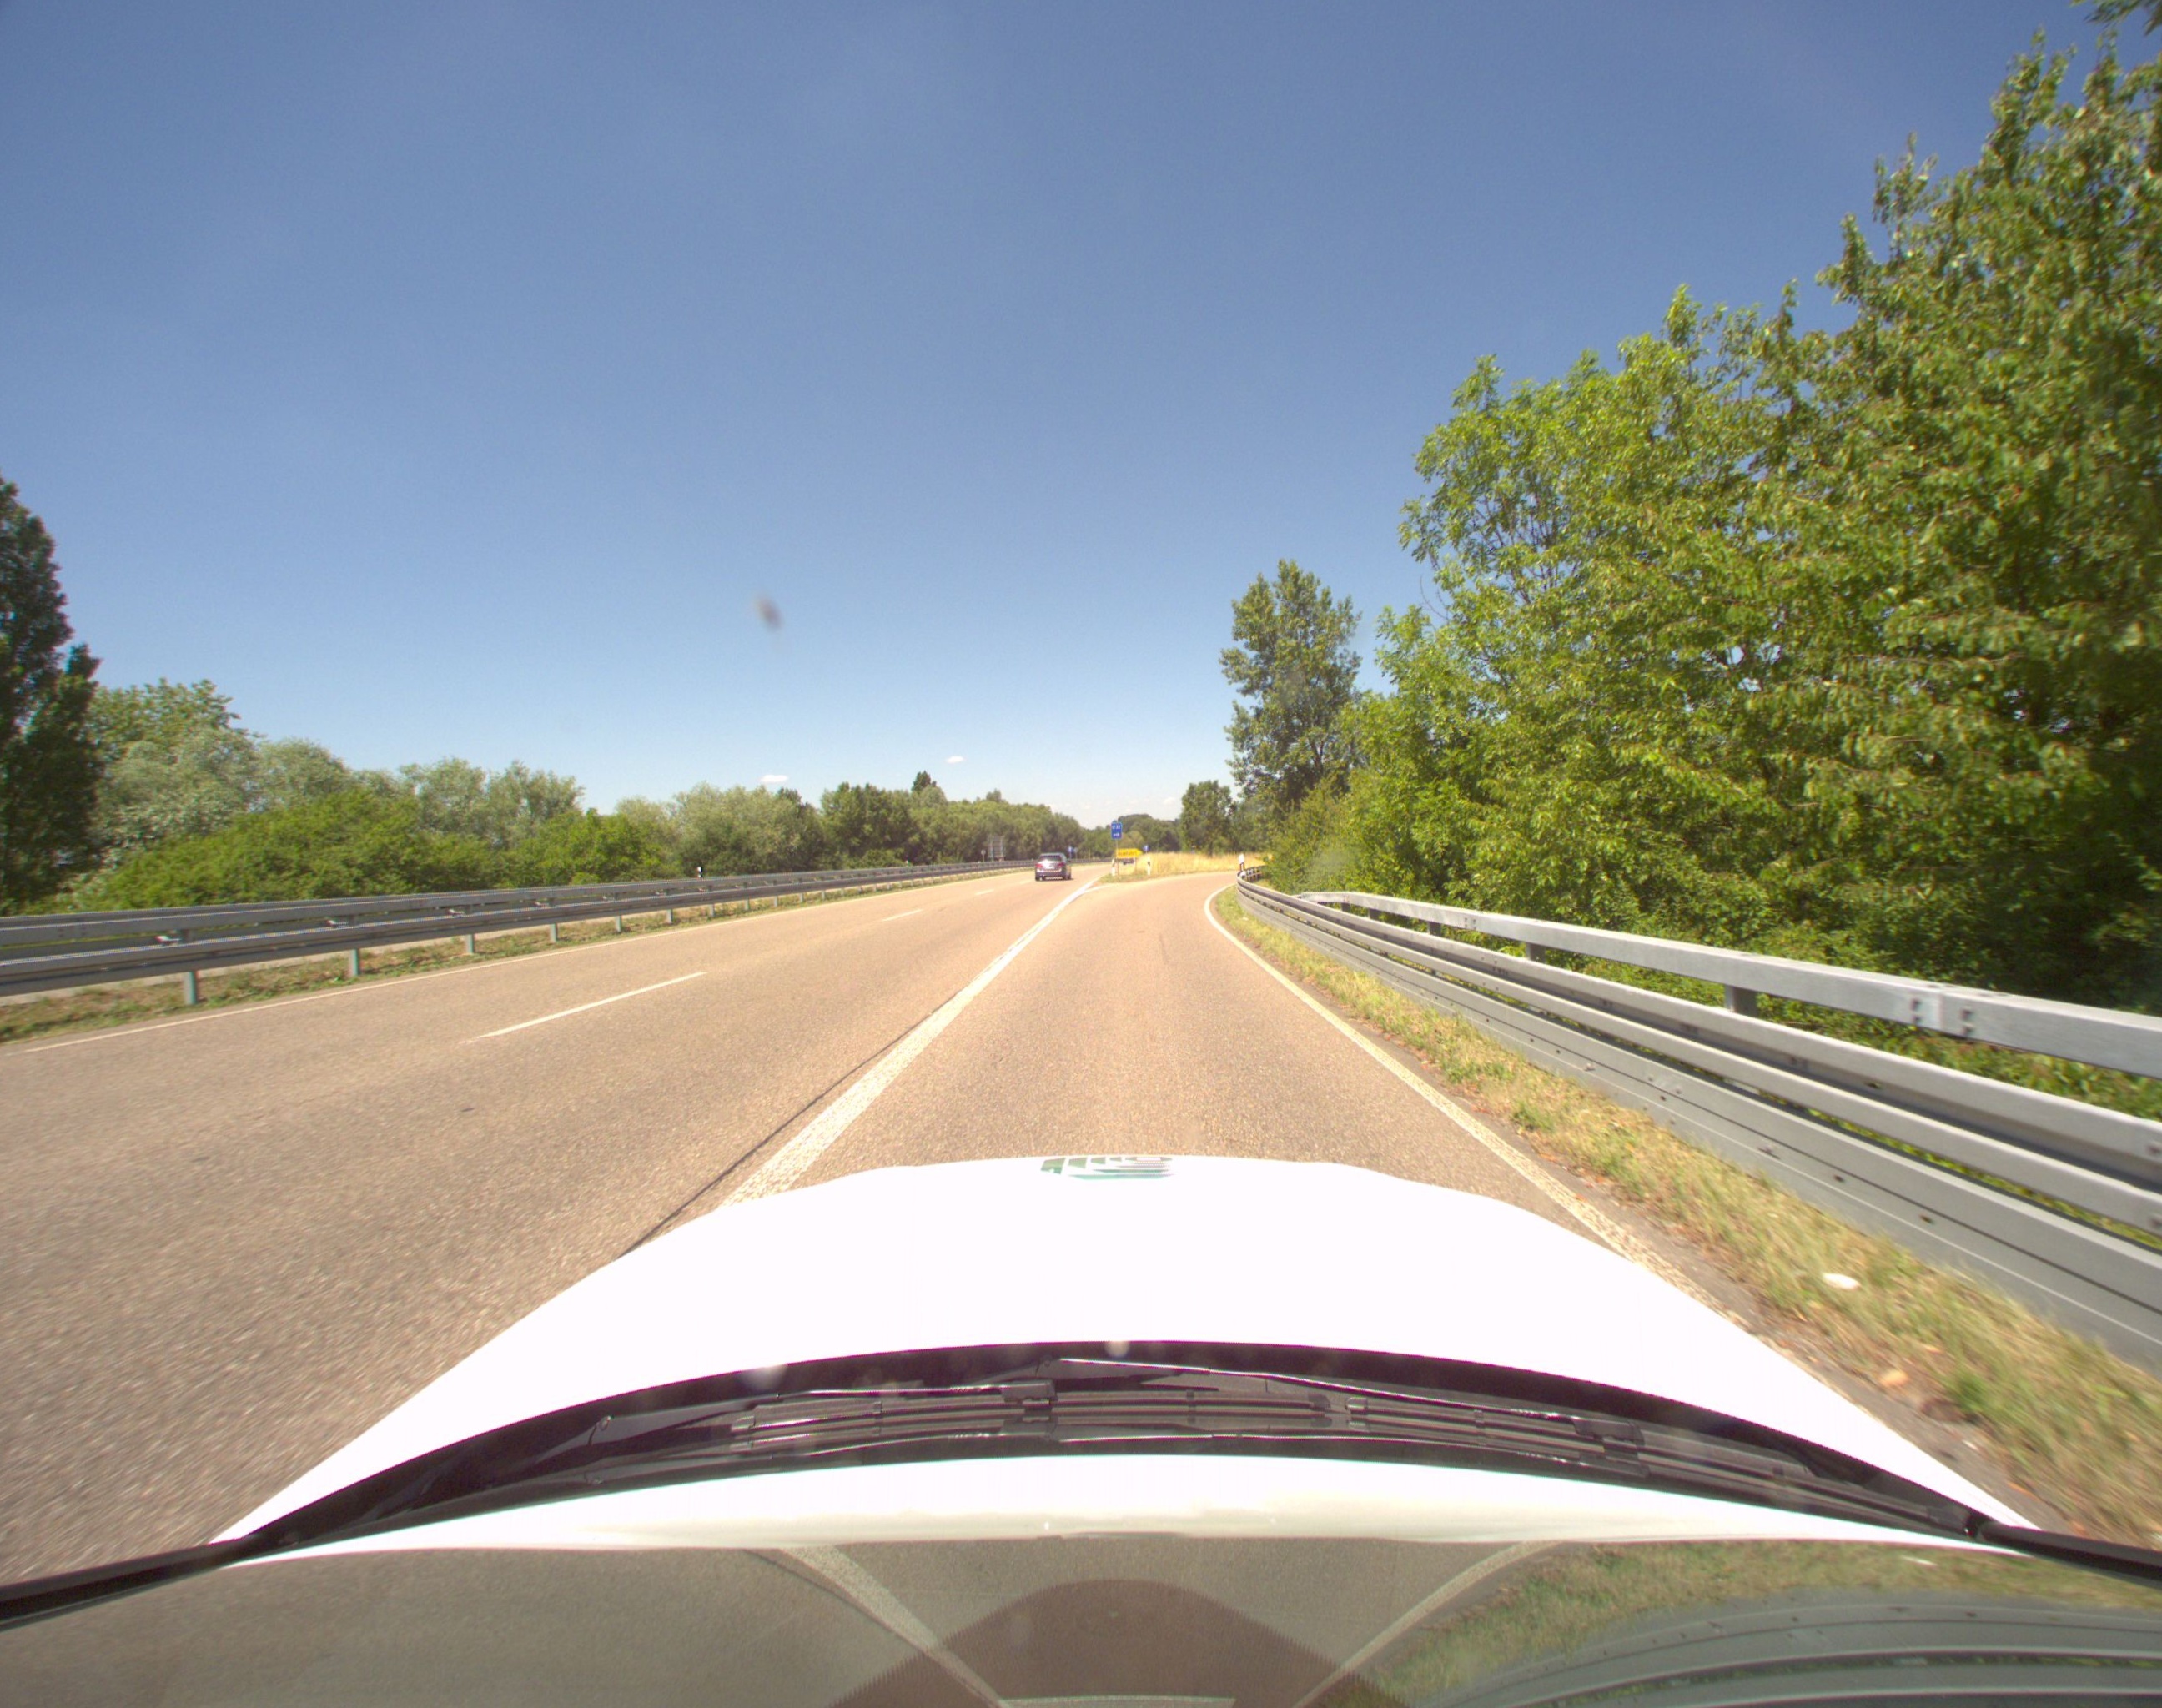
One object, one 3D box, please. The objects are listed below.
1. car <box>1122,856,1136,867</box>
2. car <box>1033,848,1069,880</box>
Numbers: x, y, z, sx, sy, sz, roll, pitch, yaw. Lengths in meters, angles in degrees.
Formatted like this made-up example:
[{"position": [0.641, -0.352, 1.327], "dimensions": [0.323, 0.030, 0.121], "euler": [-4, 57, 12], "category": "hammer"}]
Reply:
[{"position": [7.432, 1.171, 126.146], "dimensions": [1.831, 1.529, 4.481], "euler": [-1, 1, 8], "category": "car"}, {"position": [-1.680, 0.555, 47.609], "dimensions": [1.786, 1.667, 4.557], "euler": [0, 1, 2], "category": "car"}]
